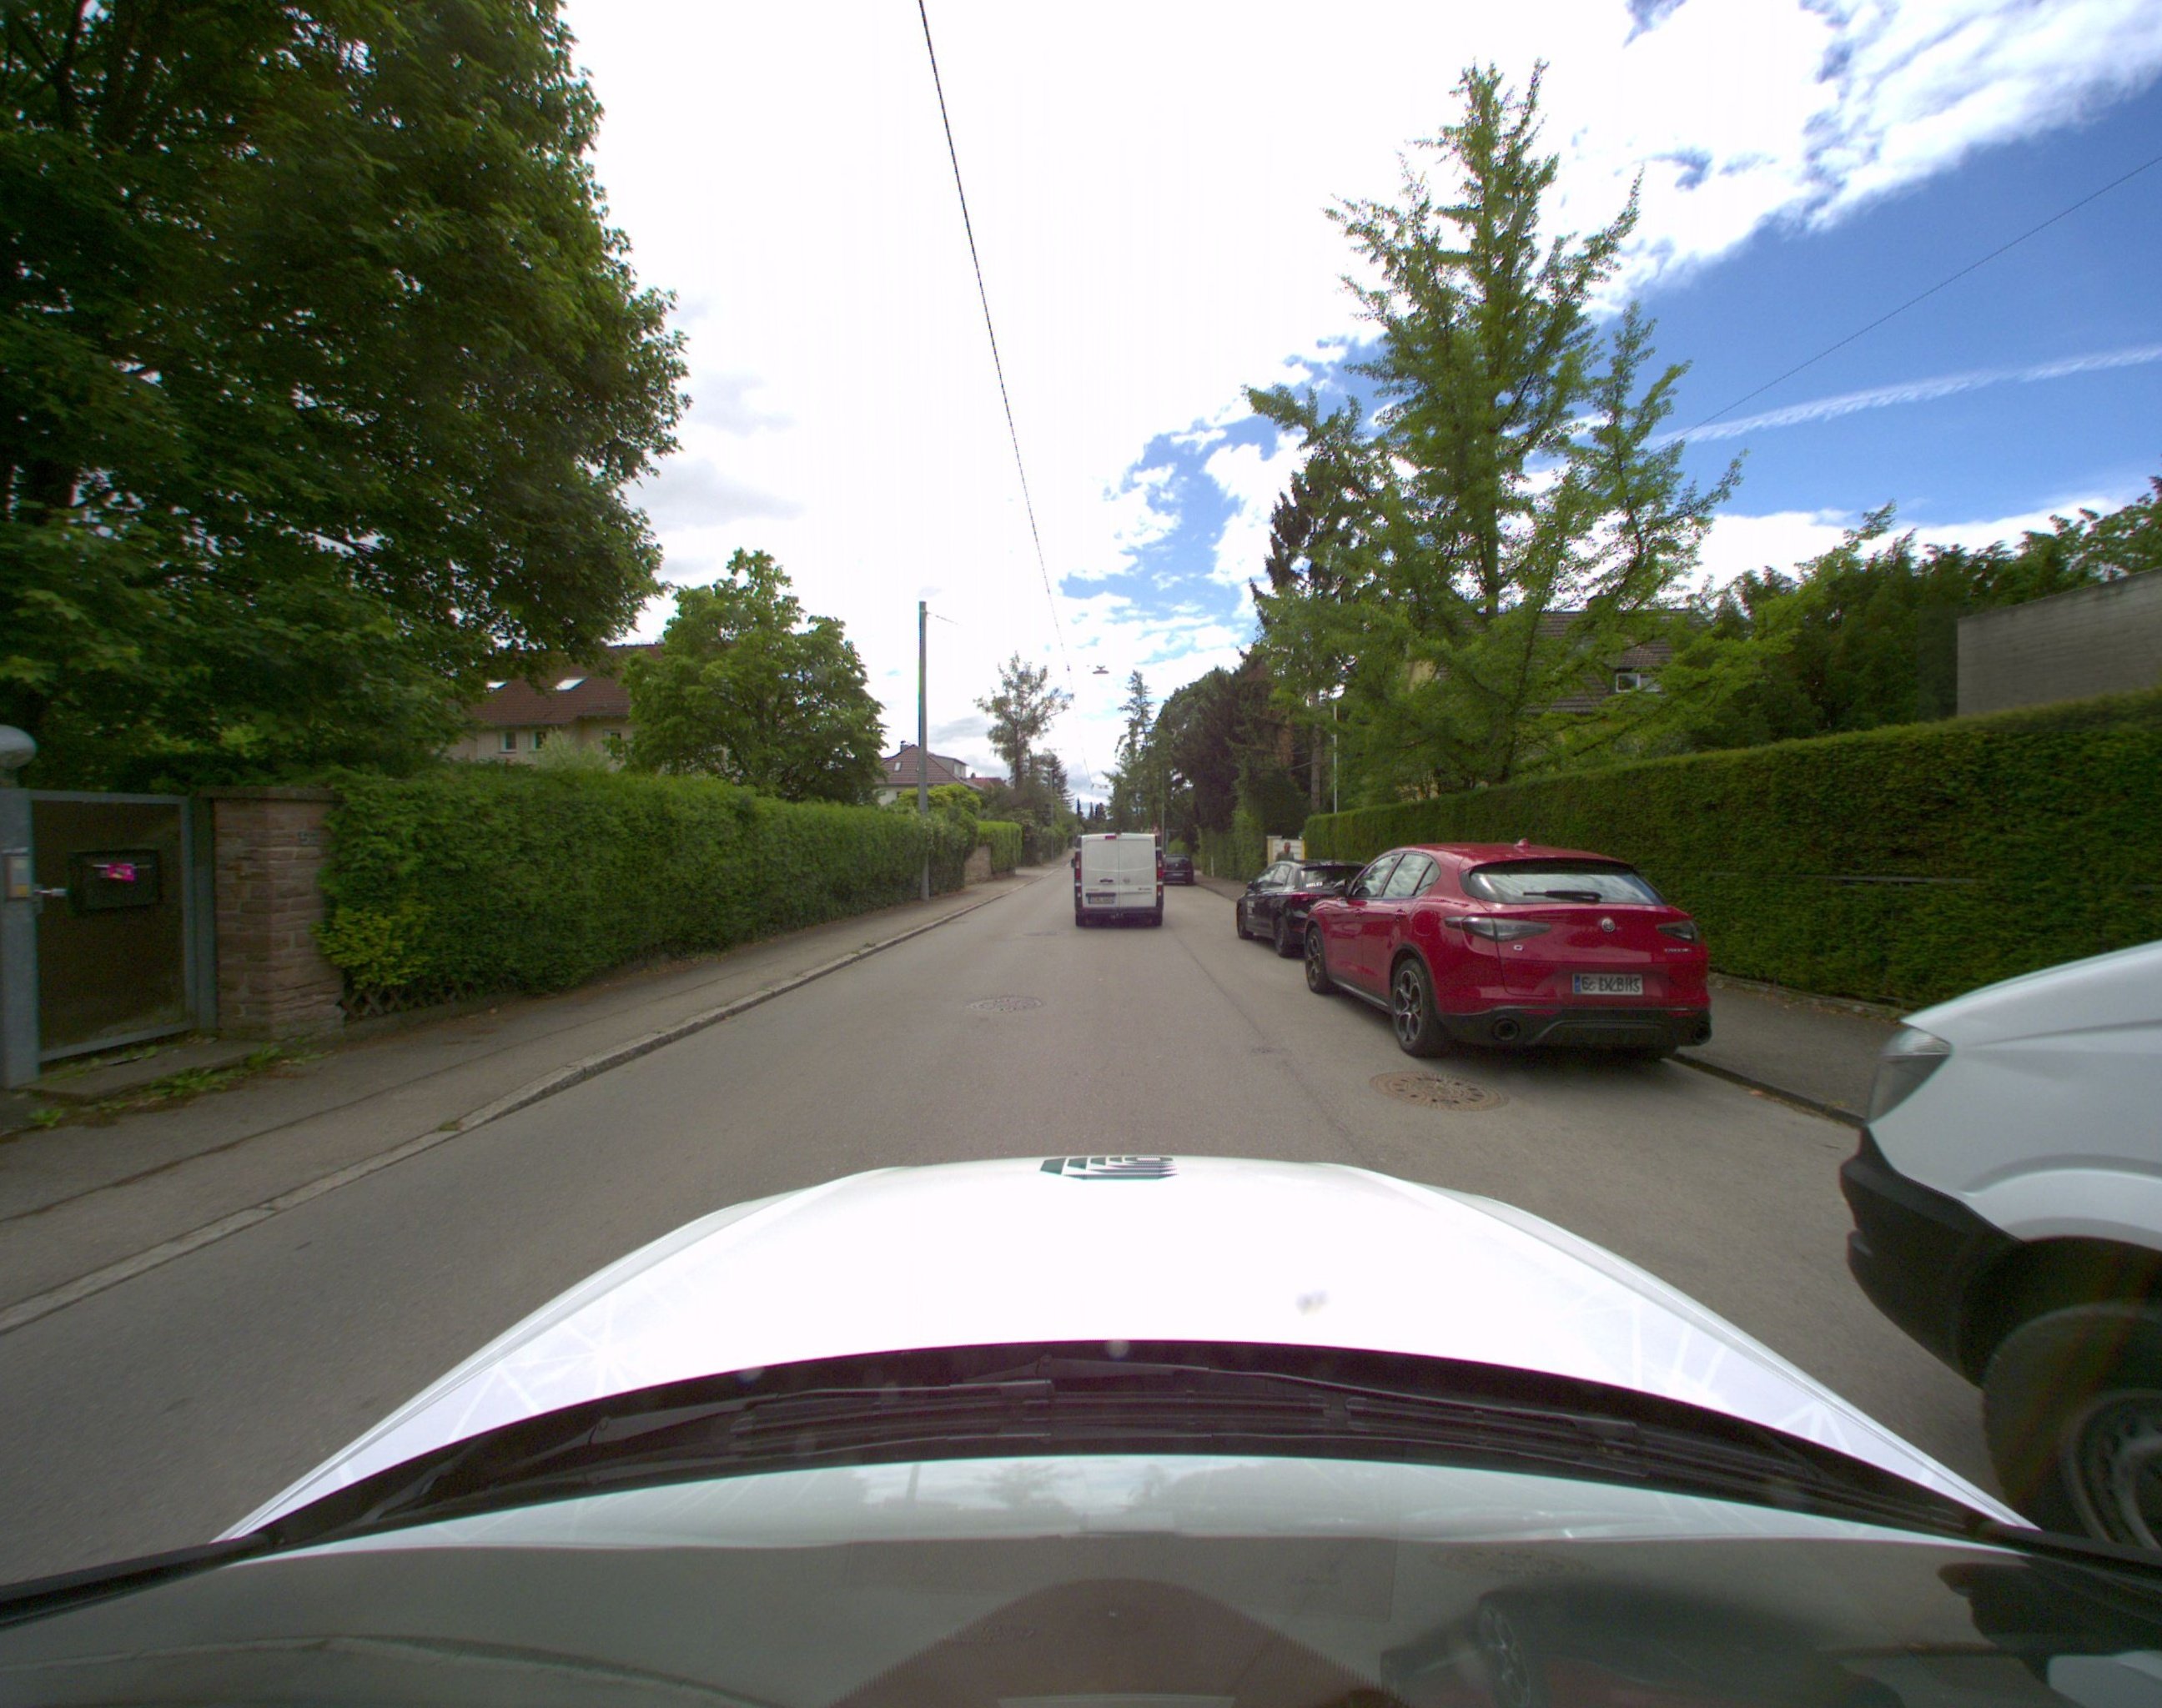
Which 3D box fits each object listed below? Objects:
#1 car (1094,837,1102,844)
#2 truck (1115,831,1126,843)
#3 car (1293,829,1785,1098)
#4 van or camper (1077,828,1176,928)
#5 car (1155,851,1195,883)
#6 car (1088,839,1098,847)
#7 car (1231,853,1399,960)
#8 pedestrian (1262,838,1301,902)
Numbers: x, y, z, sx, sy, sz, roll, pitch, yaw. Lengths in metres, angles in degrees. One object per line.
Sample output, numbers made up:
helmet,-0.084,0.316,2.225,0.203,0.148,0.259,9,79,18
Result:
car,3.904,-3.227,192.308,1.799,1.431,4.119,-3,1,1
truck,8.223,-3.498,170.108,2.179,2.471,7.434,1,1,2
car,3.411,0.657,7.356,1.881,1.581,4.768,-2,0,2
van or camper,0.940,0.451,18.455,1.932,1.954,4.766,1,0,1
car,4.551,0.591,39.697,1.617,1.473,3.742,0,1,2
car,2.442,-2.148,163.137,1.797,1.431,4.306,-3,1,4
car,3.592,0.723,13.244,1.672,1.407,4.056,-2,0,2
pedestrian,5.466,0.420,22.250,0.670,1.698,0.914,-2,0,-12
